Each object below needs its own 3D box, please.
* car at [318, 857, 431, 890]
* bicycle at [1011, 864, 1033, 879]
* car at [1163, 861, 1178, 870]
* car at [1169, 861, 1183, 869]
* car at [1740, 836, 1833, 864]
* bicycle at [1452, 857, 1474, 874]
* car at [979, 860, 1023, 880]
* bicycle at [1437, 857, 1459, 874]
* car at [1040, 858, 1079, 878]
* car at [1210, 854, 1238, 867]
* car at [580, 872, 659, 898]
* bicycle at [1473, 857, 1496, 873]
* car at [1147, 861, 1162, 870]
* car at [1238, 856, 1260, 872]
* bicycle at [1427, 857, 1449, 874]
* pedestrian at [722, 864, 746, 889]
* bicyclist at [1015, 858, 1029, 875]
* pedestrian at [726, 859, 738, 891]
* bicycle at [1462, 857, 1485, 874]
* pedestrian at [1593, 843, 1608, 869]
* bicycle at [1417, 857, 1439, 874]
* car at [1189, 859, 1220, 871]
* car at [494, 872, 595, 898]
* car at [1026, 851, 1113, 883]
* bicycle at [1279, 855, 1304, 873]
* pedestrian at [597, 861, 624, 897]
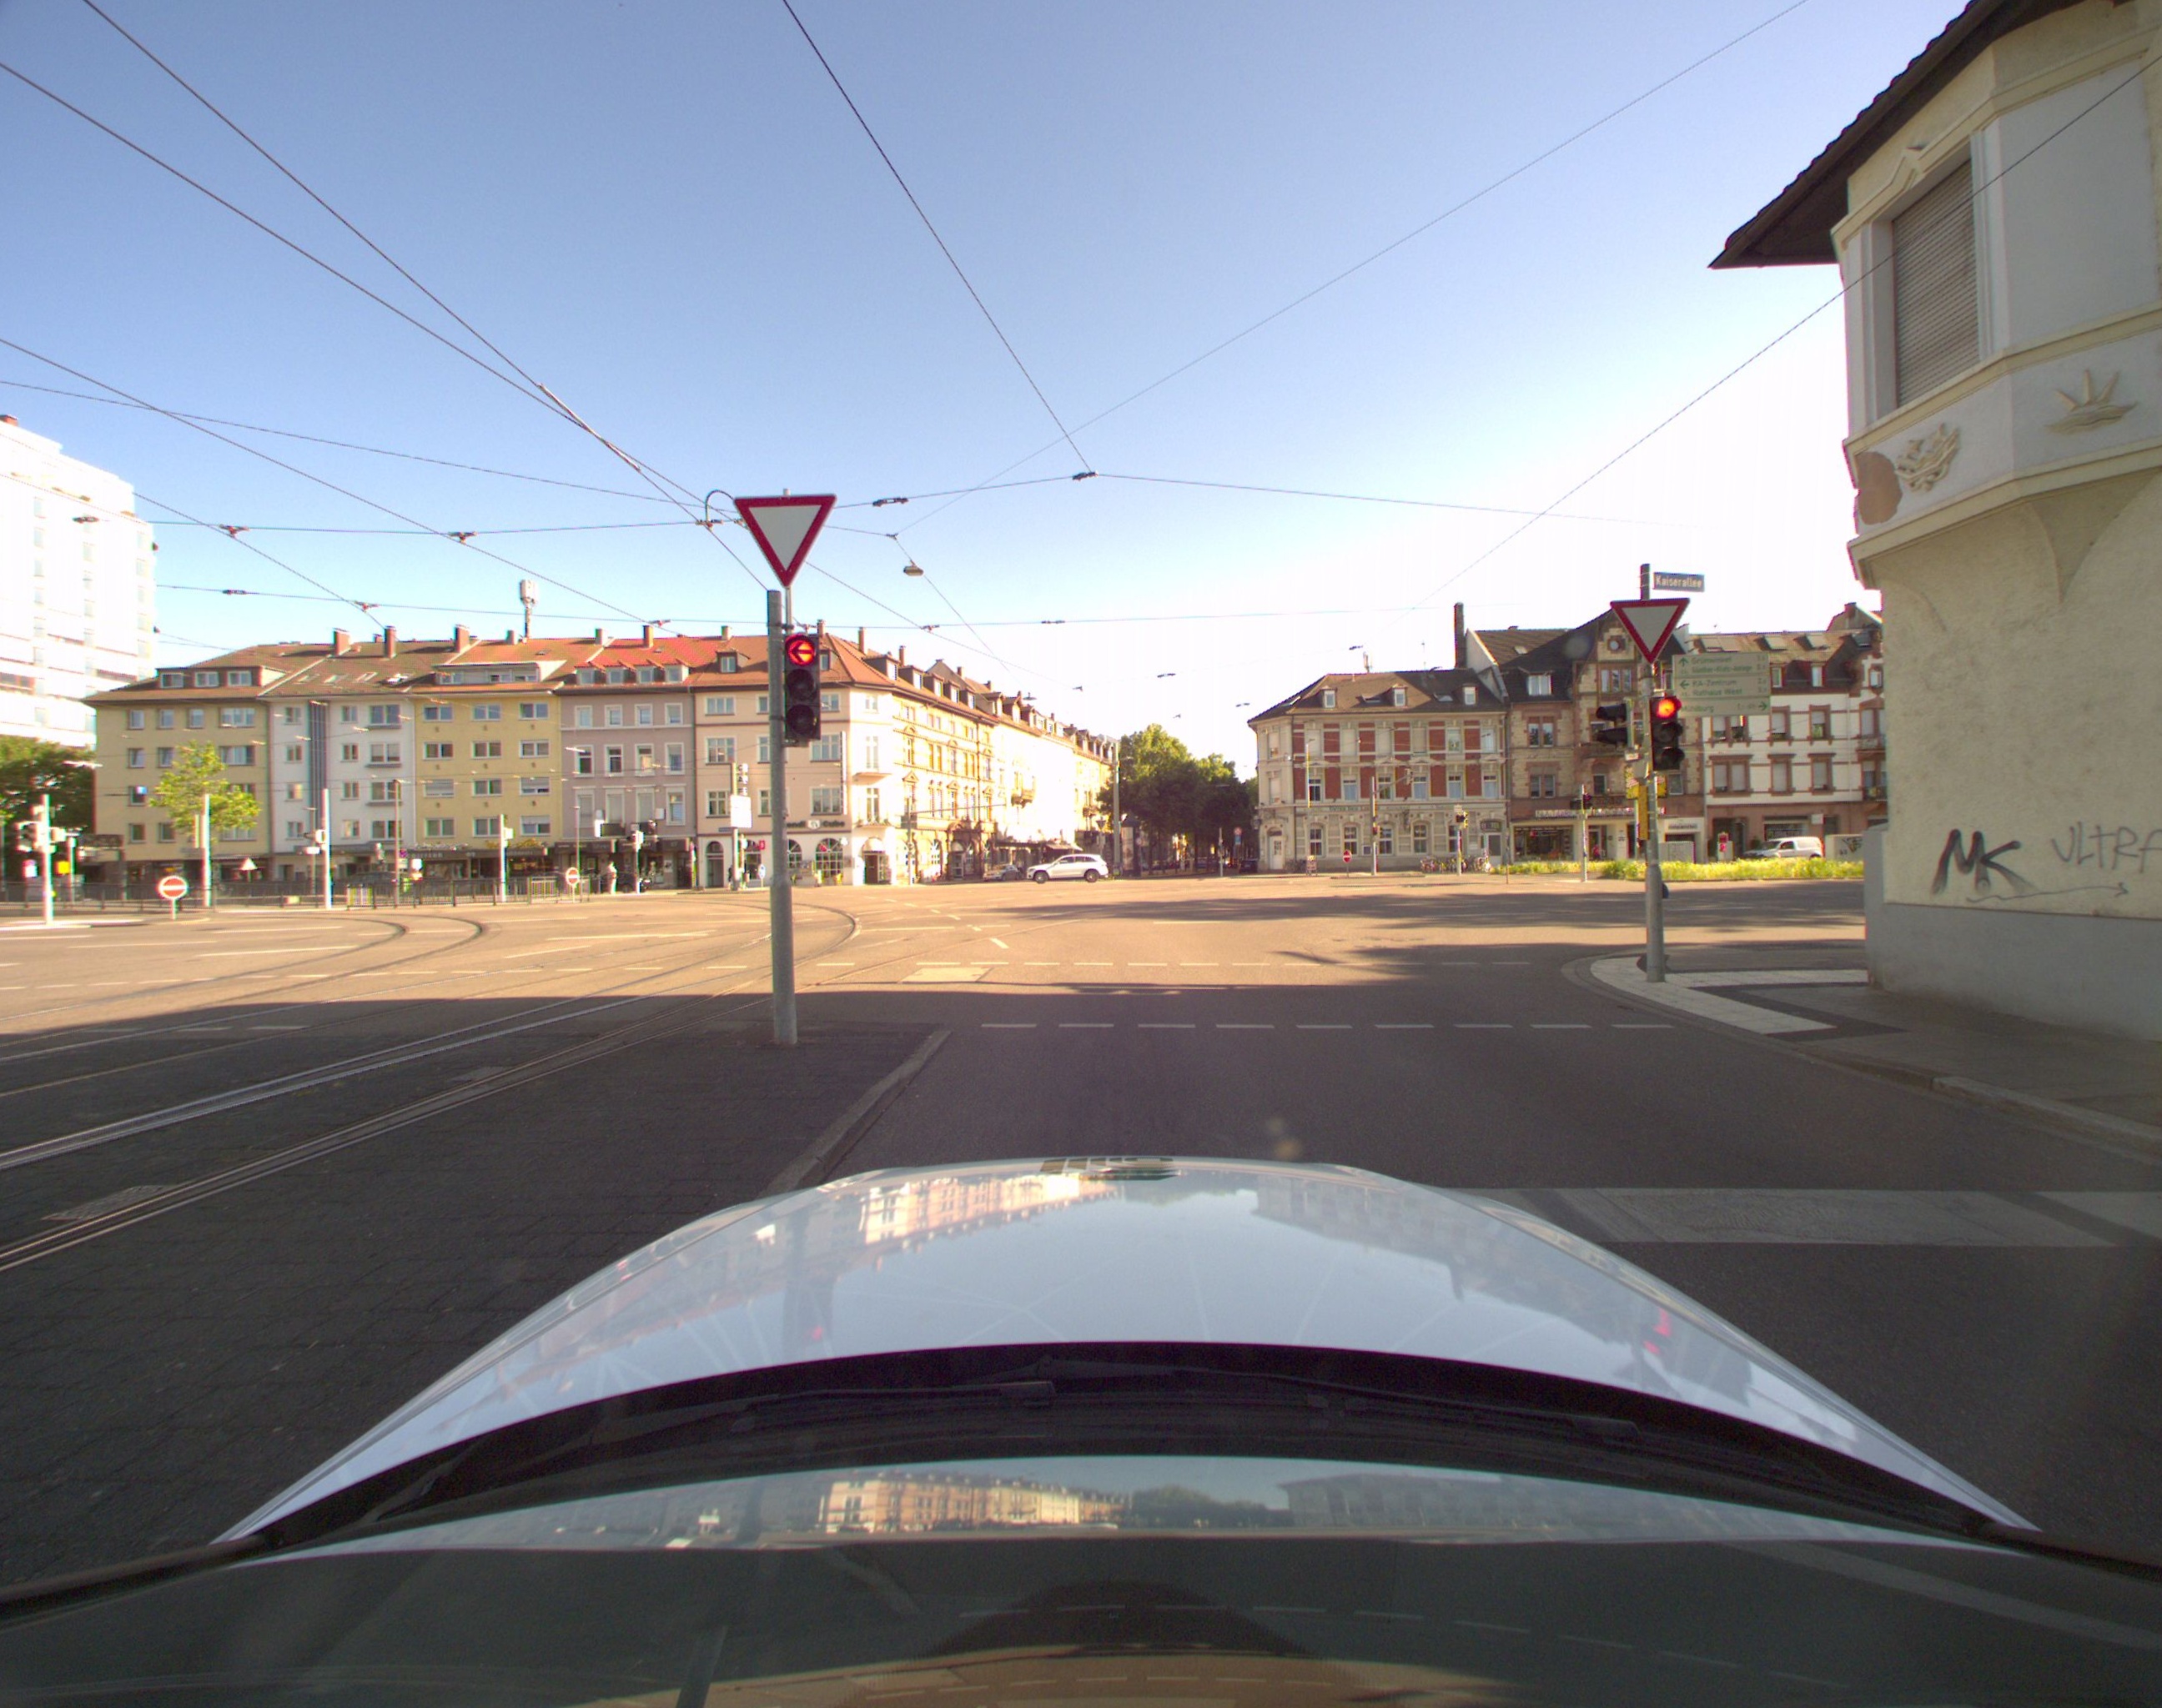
[{"bbox_3d":[-39.361,1.083,45.440,4.494,1.672,2.000,-1,0,1],"label":"car"},{"bbox_3d":[-4.762,1.430,65.890,0.745,1.135,2.821,-1,0,16],"label":"bicycle"},{"bbox_3d":[14.452,1.809,131.446,1.728,1.397,4.141,1,0,16],"label":"car"},{"bbox_3d":[15.876,1.832,136.193,1.728,1.397,4.141,1,0,16],"label":"car"},{"bbox_3d":[45.390,-0.242,52.460,4.356,1.654,1.999,-1,0,-2],"label":"car"},{"bbox_3d":[24.645,0.715,52.558,0.603,1.051,1.641,-1,0,-3],"label":"bicycle"},{"bbox_3d":[-6.591,1.304,67.690,2.080,1.545,4.382,-2,0,16],"label":"car"},{"bbox_3d":[23.819,0.724,52.859,0.603,1.051,1.641,-1,0,-3],"label":"bicycle"},{"bbox_3d":[-1.723,1.162,67.360,2.080,1.499,4.017,-2,0,16],"label":"car"},{"bbox_3d":[23.384,1.083,133.061,4.074,1.919,1.756,1,0,23],"label":"car"},{"bbox_3d":[-30.268,1.996,53.525,3.978,1.464,1.998,-2,0,-4],"label":"car"},{"bbox_3d":[26.059,0.705,52.601,0.603,1.051,1.641,-1,0,-3],"label":"bicycle"},{"bbox_3d":[11.074,1.727,122.699,1.729,1.397,4.137,1,0,12],"label":"car"},{"bbox_3d":[16.913,0.987,82.041,1.637,1.524,3.772,-2,-1,20],"label":"car"},{"bbox_3d":[23.155,0.729,52.859,0.603,1.051,1.641,-1,0,-3],"label":"bicycle"},{"bbox_3d":[-23.436,1.521,54.987,1.060,1.591,1.043,-1,0,4],"label":"pedestrian"},{"bbox_3d":[-4.759,0.986,65.862,0.787,1.375,1.113,-1,0,16],"label":"bicyclist"},{"bbox_3d":[-22.772,1.360,53.114,0.506,2.013,0.505,-1,0,5],"label":"pedestrian"},{"bbox_3d":[25.320,0.710,52.608,0.603,1.051,1.641,-1,0,-3],"label":"bicycle"},{"bbox_3d":[35.401,0.122,55.476,0.705,1.751,0.421,-1,0,3],"label":"pedestrian"},{"bbox_3d":[22.502,0.733,52.828,0.603,1.051,1.641,-1,0,-3],"label":"bicycle"},{"bbox_3d":[17.496,1.523,114.982,4.078,1.646,1.754,1,0,17],"label":"car"},{"bbox_3d":[-31.334,1.790,47.673,4.496,1.341,2.000,-1,0,0],"label":"car"},{"bbox_3d":[-0.697,0.709,46.449,4.838,1.660,1.997,-1,0,-4],"label":"car"},{"bbox_3d":[14.702,0.686,56.929,1.625,1.222,0.609,-1,0,18],"label":"bicycle"},{"bbox_3d":[-24.565,1.314,42.548,0.871,1.818,0.811,-1,0,2],"label":"pedestrian"}]
